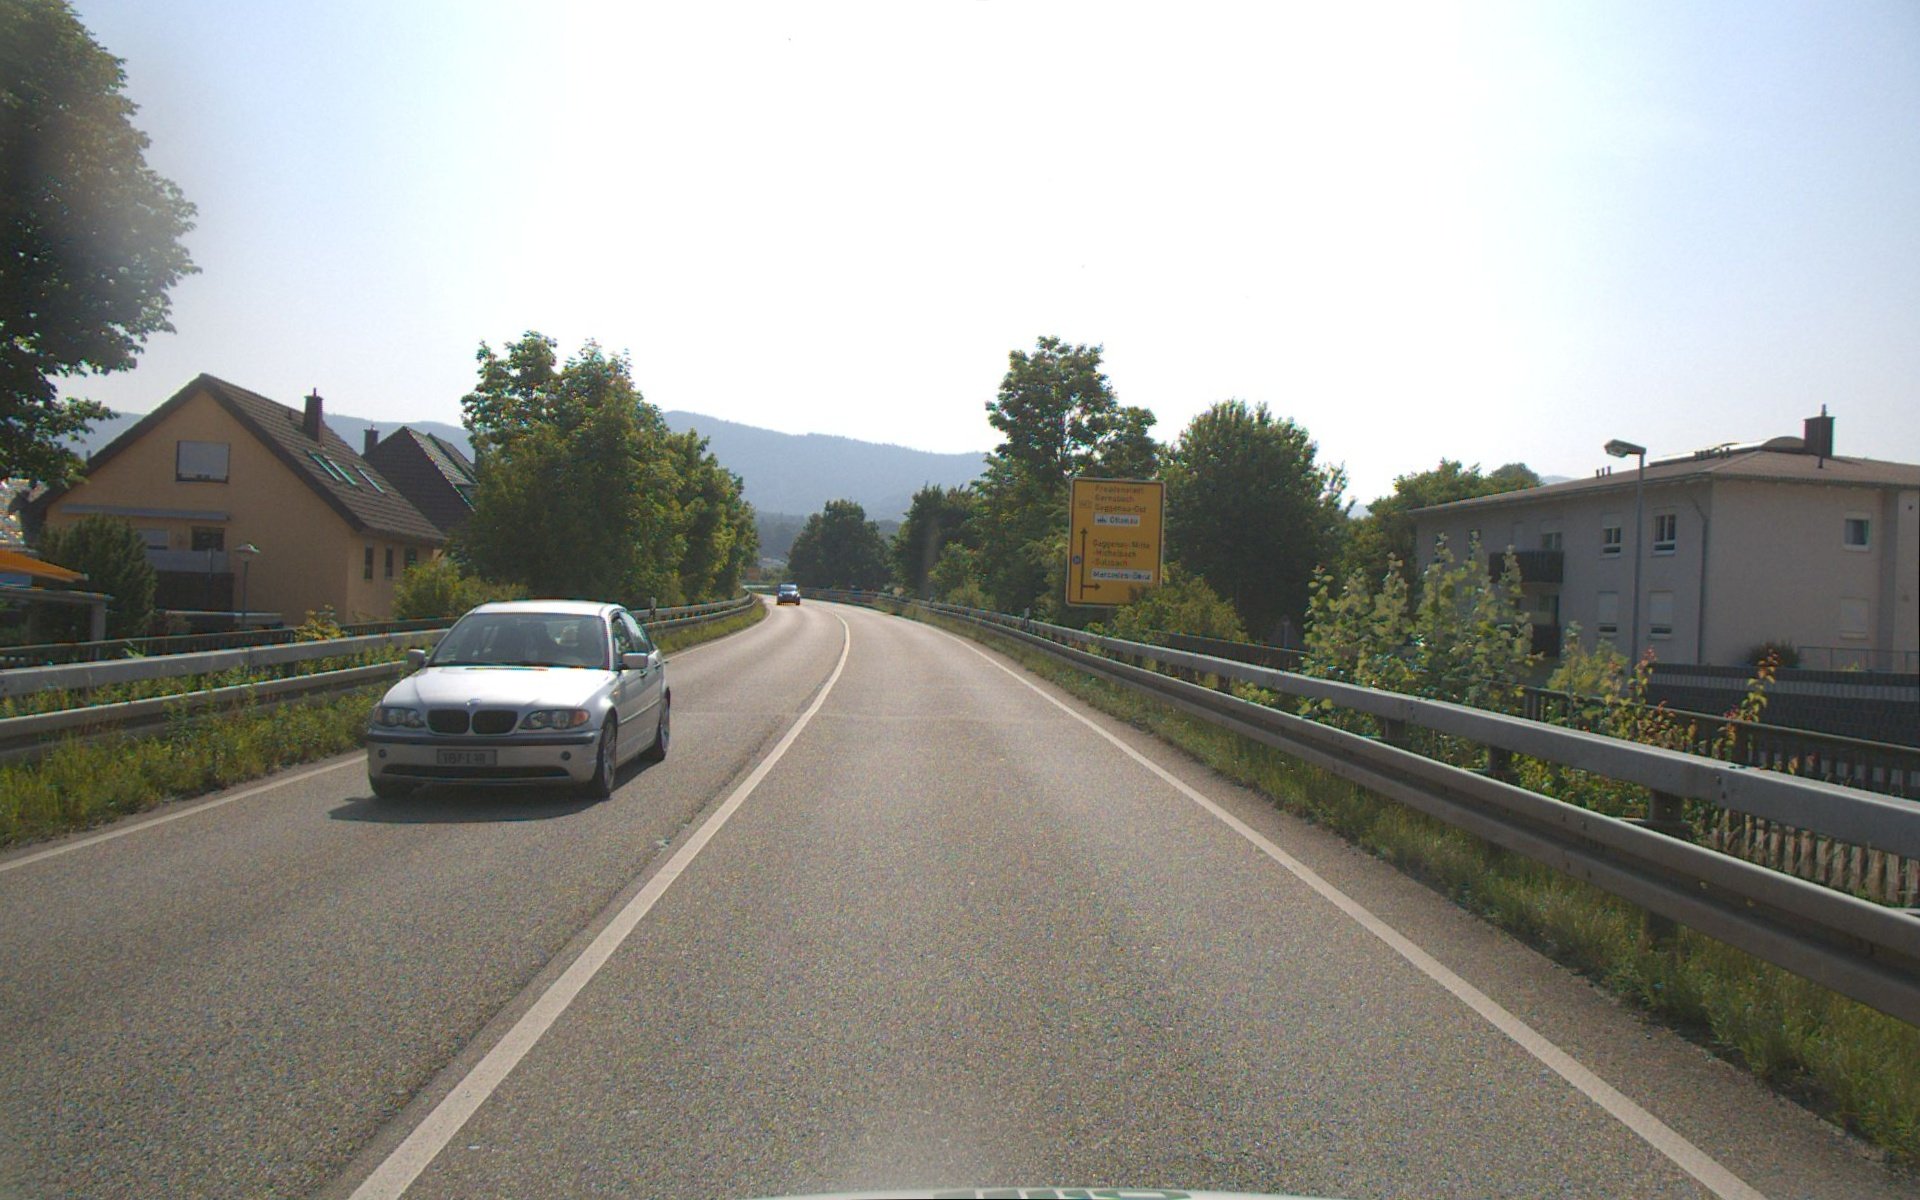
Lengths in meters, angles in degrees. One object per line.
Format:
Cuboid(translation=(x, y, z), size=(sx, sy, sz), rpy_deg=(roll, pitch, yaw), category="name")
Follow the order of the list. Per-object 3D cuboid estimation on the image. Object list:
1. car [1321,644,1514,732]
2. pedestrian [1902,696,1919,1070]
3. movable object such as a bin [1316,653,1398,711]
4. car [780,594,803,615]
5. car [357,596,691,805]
Cuboid(translation=(15.731, 3.053, 57.075), size=(5.952, 2.735, 2.311), rpy_deg=(3, -4, -3), category="car")
Cuboid(translation=(5.669, 1.570, 8.771), size=(0.771, 2.049, 0.997), rpy_deg=(1, 0, 2), category="pedestrian")
Cuboid(translation=(15.528, 3.203, 64.778), size=(2.729, 2.048, 1.586), rpy_deg=(3, 0, -3), category="movable object such as a bin")
Cuboid(translation=(-13.471, 0.363, 132.227), size=(1.772, 1.588, 3.988), rpy_deg=(0, 0, -5), category="car")
Cuboid(translation=(-3.348, 0.701, 13.474), size=(1.722, 1.435, 3.988), rpy_deg=(0, 0, -1), category="car")
